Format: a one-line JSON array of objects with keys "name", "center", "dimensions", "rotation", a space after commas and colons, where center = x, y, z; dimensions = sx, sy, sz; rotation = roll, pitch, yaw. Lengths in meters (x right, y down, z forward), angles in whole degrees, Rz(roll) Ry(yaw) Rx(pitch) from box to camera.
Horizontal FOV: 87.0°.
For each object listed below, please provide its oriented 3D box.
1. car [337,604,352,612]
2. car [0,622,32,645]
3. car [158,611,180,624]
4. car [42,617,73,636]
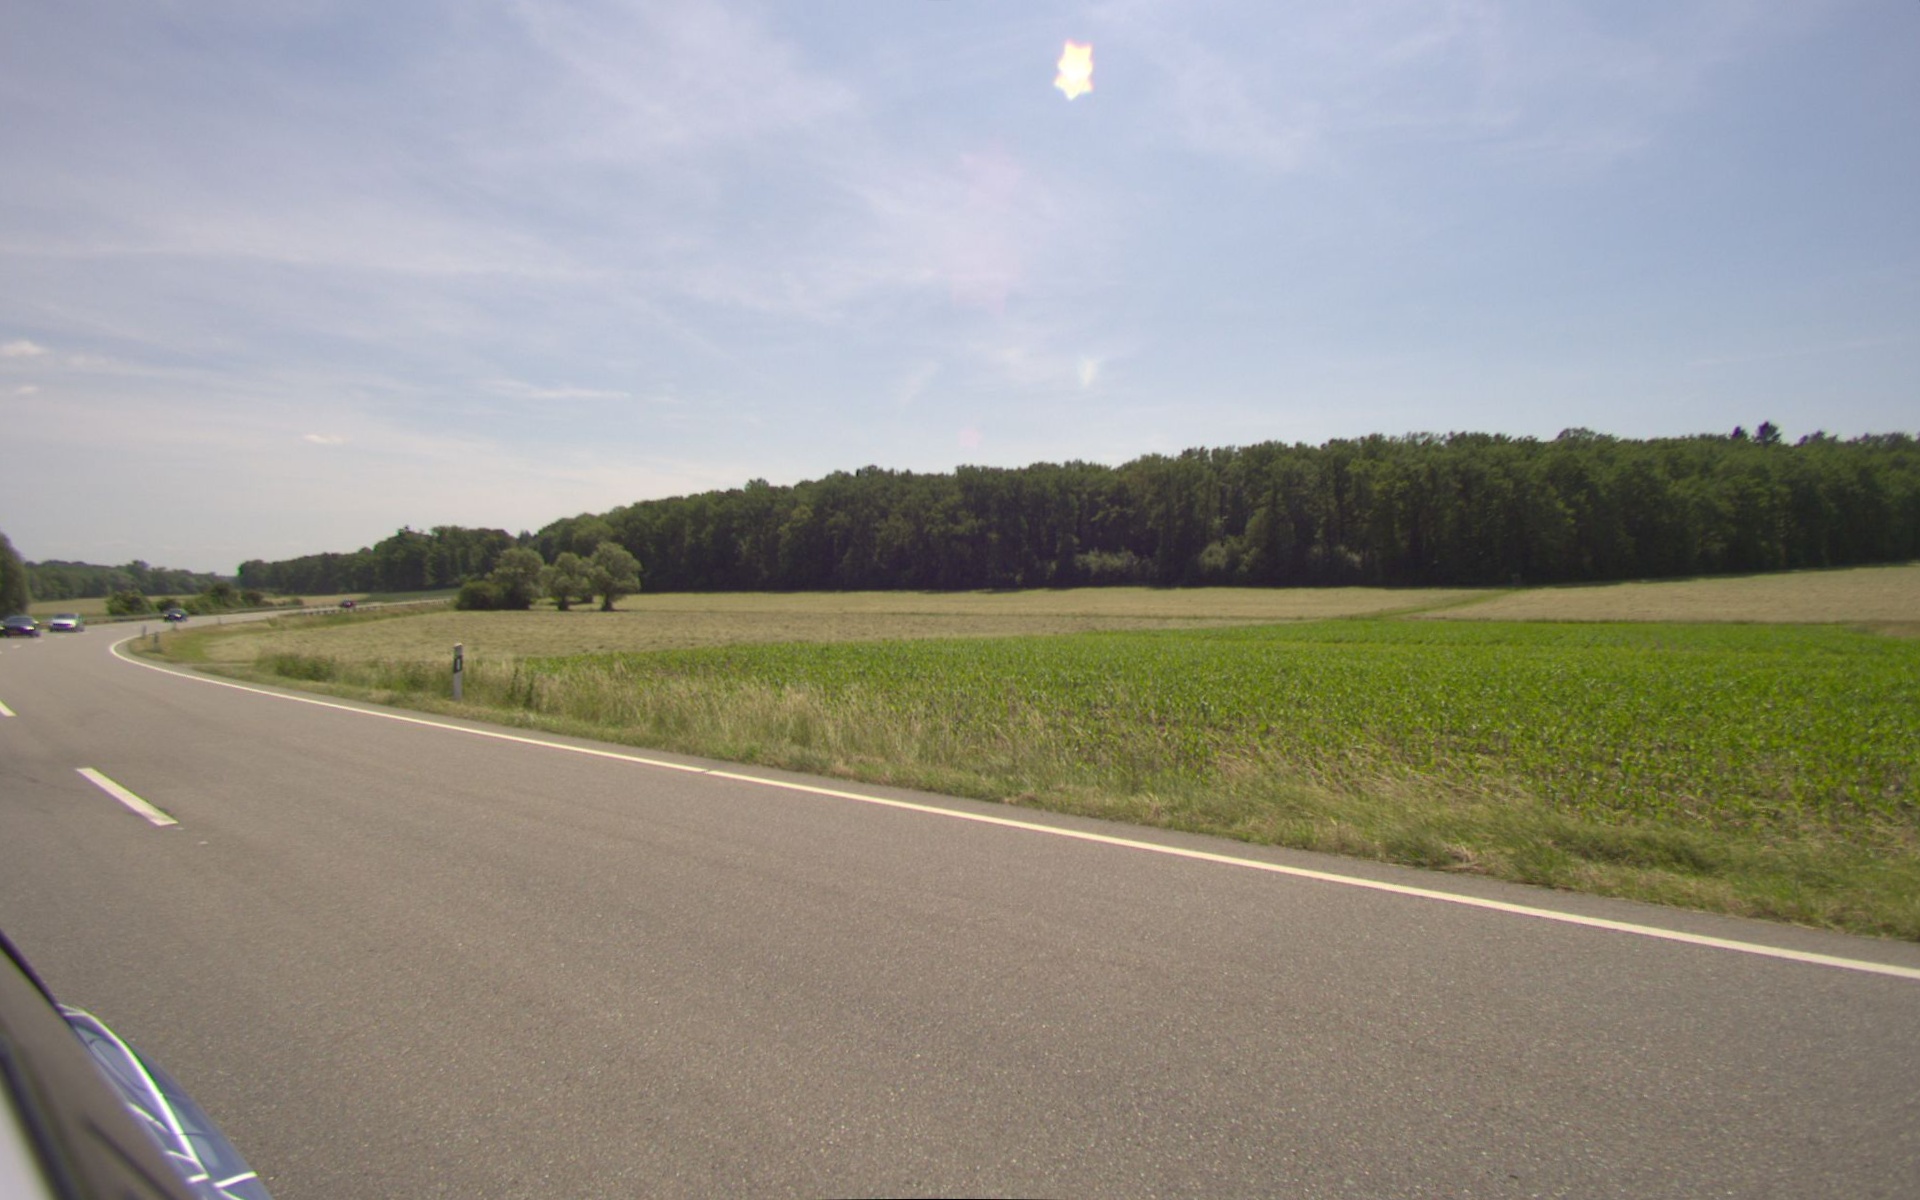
[{"name": "car", "center": [-121.410, 1.649, 199.757], "dimensions": [1.595, 1.447, 3.453], "rotation": [0, 1, -15]}, {"name": "car", "center": [-62.695, 2.195, 66.972], "dimensions": [1.597, 1.447, 3.450], "rotation": [0, 0, -38]}, {"name": "car", "center": [-94.720, 2.118, 121.174], "dimensions": [1.595, 1.447, 3.454], "rotation": [0, 1, -30]}, {"name": "car", "center": [-73.257, 2.137, 82.169], "dimensions": [1.596, 1.447, 3.451], "rotation": [0, 1, -36]}]
